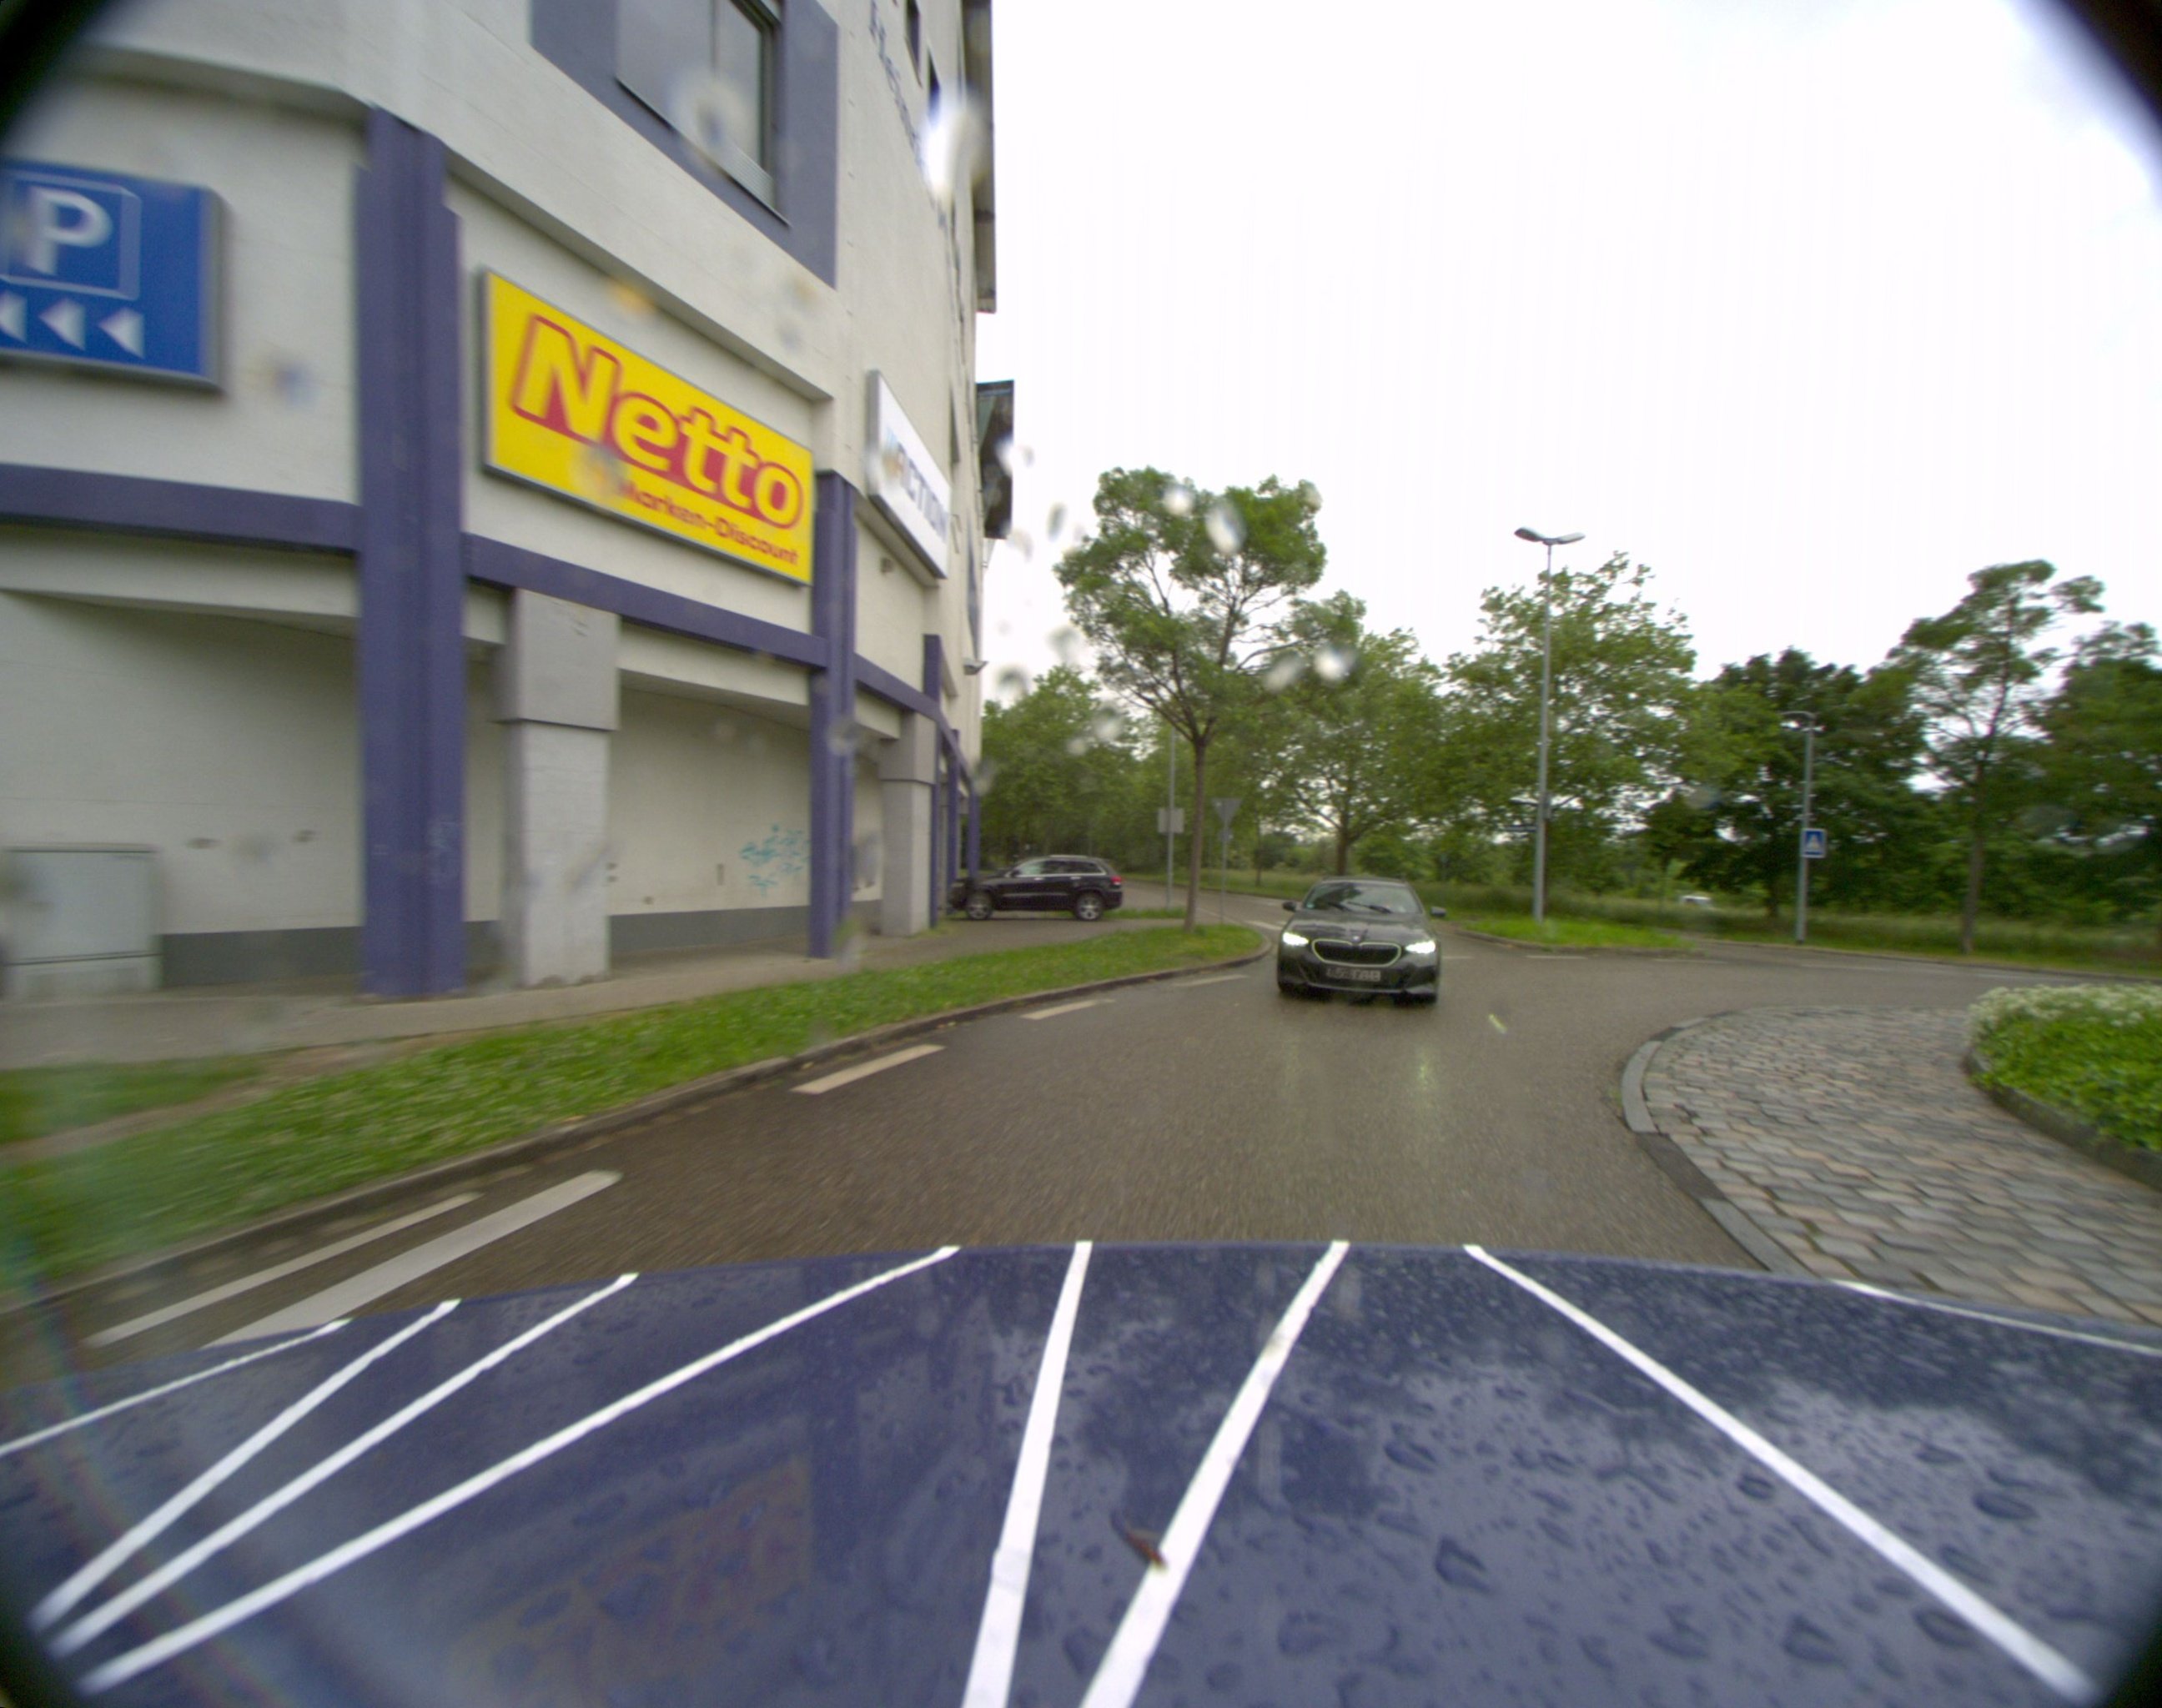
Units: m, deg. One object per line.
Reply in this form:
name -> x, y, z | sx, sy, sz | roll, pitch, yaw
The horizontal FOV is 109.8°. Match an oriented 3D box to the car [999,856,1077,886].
car -> -2.621, 1.035, 45.857 | 4.486, 1.670, 1.766 | 2, 0, -11

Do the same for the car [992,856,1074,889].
car -> -2.391, 0.907, 37.804 | 3.950, 1.444, 1.720 | 2, 1, -6

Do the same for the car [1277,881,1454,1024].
car -> 4.107, 1.167, 10.782 | 1.840, 1.485, 4.911 | 1, -2, 23

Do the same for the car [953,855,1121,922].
car -> -1.236, 0.942, 20.876 | 4.391, 1.748, 1.828 | 1, -1, -7
